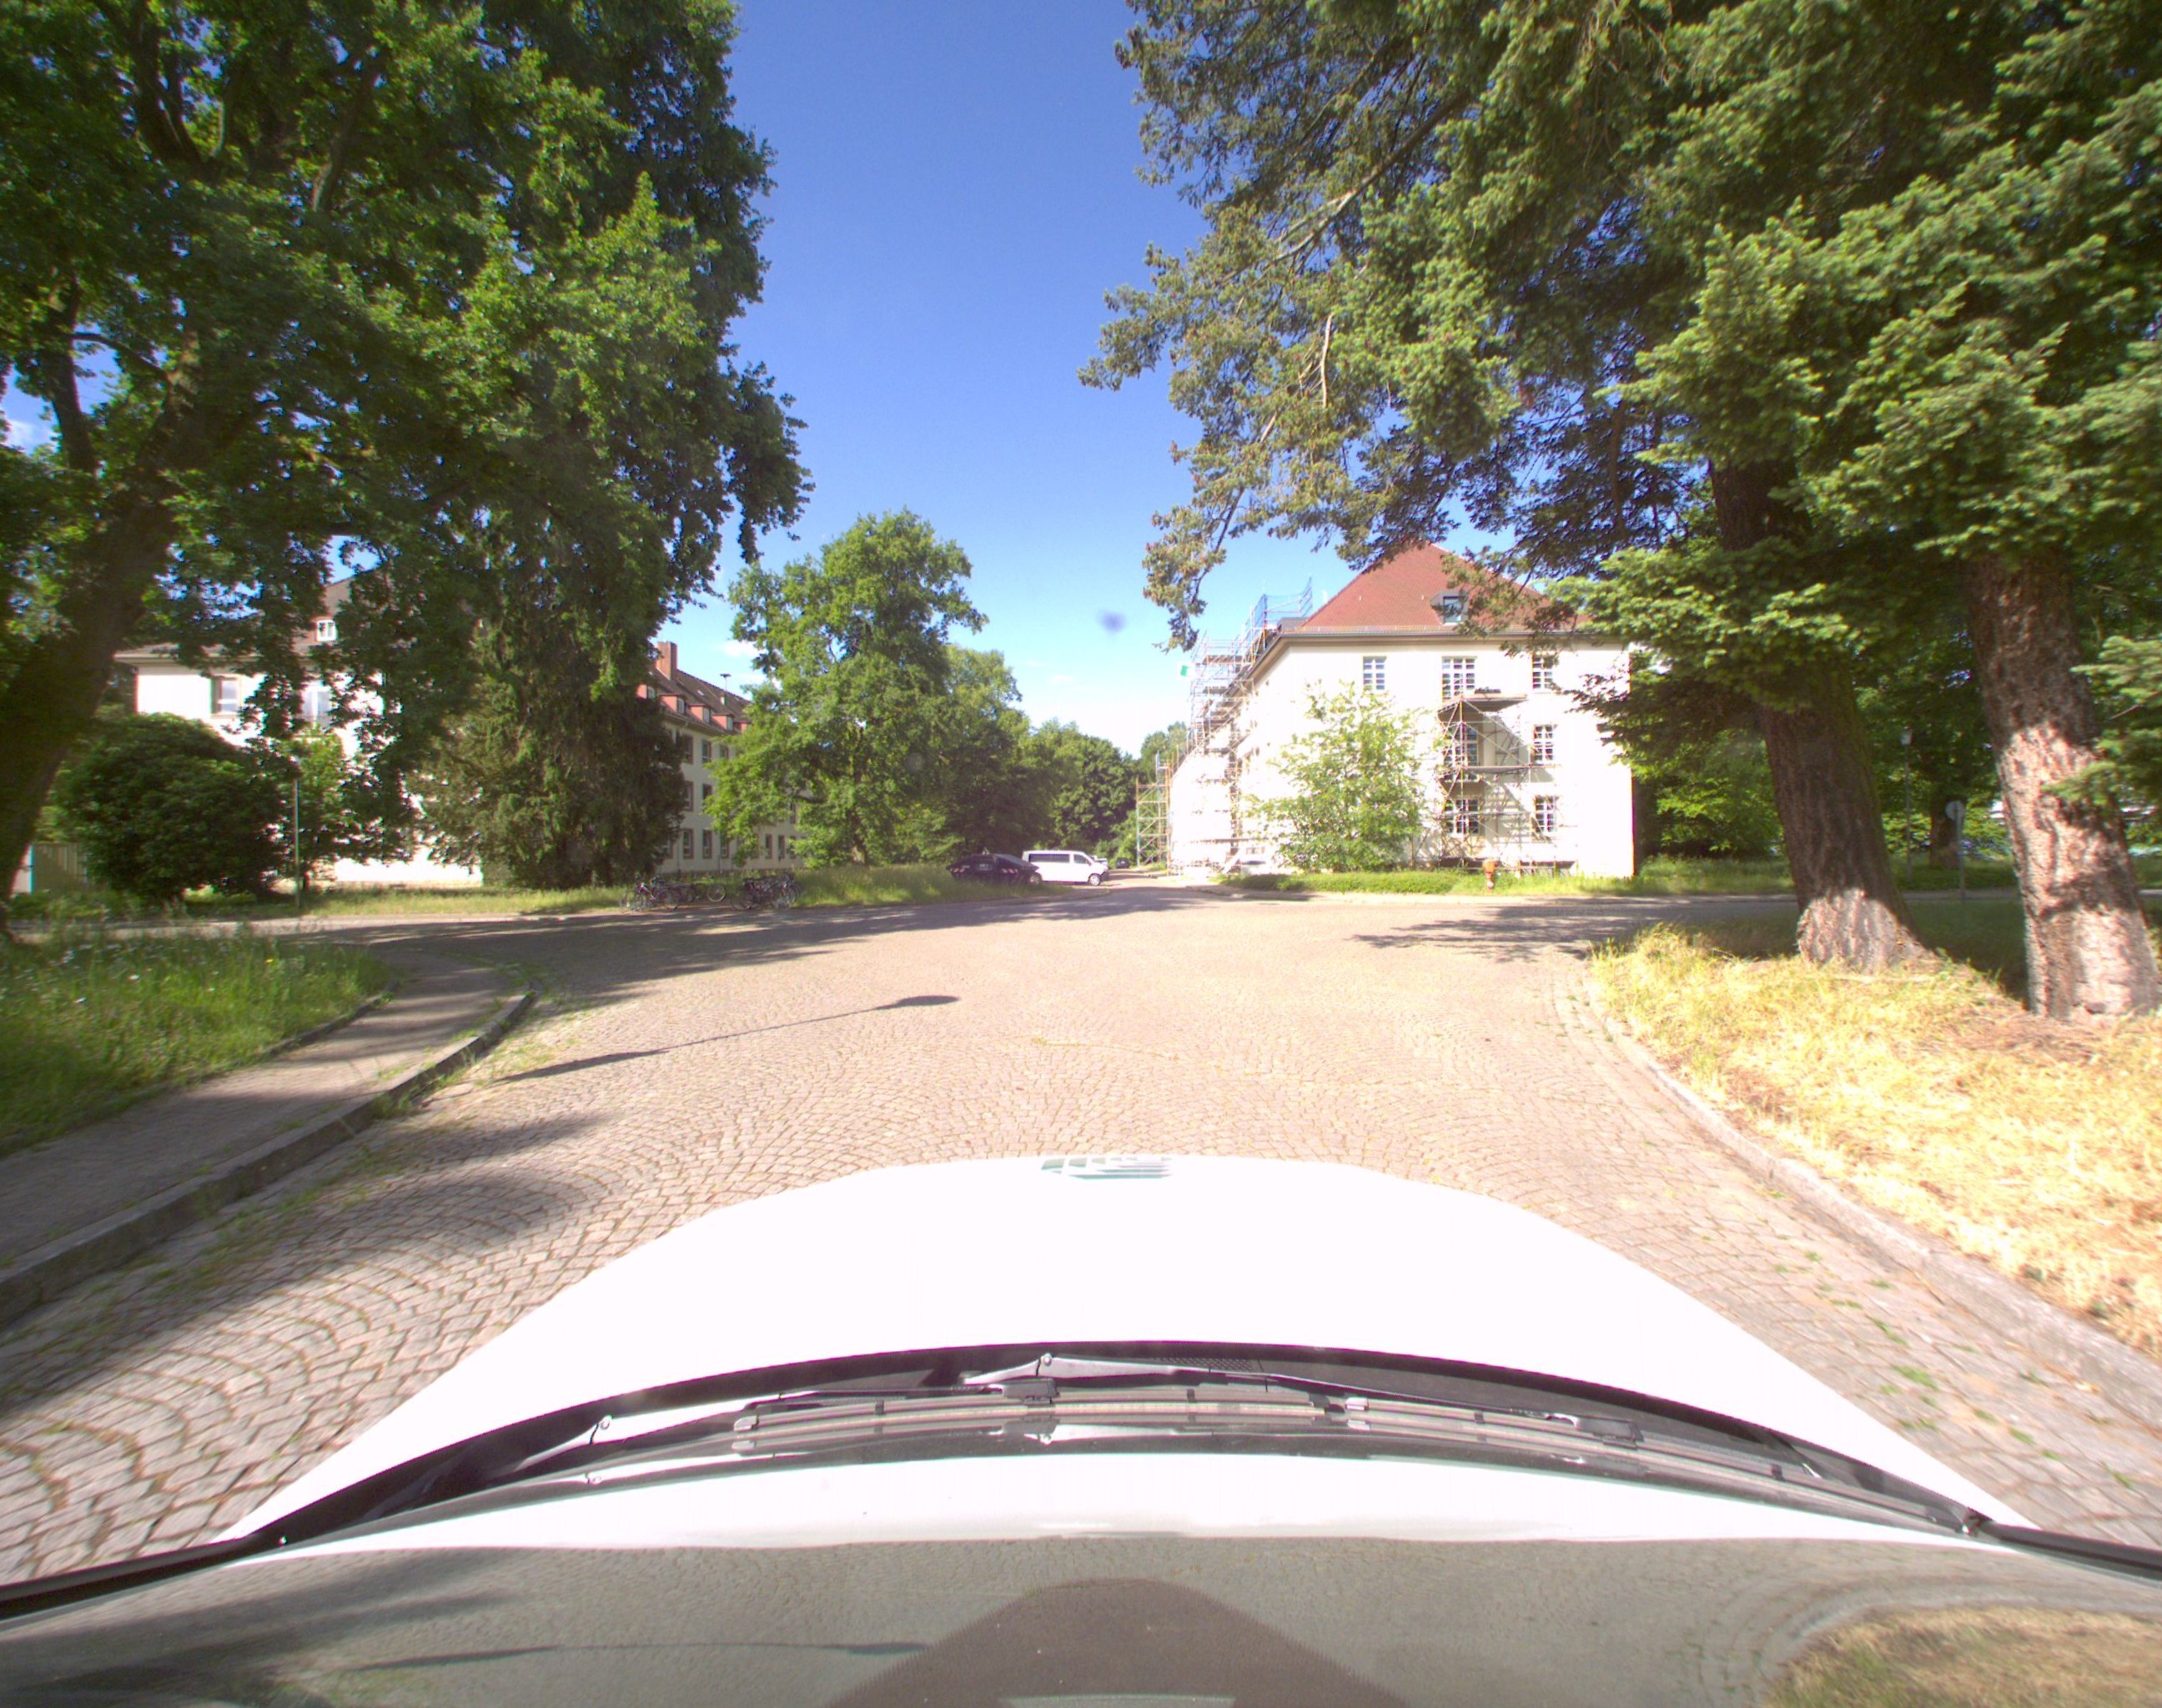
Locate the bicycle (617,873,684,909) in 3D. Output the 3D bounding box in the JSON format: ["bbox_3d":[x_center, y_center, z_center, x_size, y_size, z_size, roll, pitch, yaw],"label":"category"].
[{"bbox_3d":[-14.451,1.234,27.398,1.921,1.103,0.566,-1,1,-24],"label":"bicycle"}]

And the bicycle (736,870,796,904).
[{"bbox_3d":[-11.081,1.154,28.699,1.921,1.058,0.472,-3,0,-22],"label":"bicycle"}]

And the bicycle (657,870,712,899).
[{"bbox_3d":[-15.973,1.204,32.850,1.921,1.103,0.566,0,1,-23],"label":"bicycle"}]

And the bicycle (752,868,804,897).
[{"bbox_3d":[-12.259,1.126,32.982,1.919,1.058,0.473,-3,0,-20],"label":"bicycle"}]

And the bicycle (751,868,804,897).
[{"bbox_3d":[-12.107,1.122,32.543,1.919,1.058,0.473,-3,0,-20],"label":"bicycle"}]

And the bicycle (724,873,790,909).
[{"bbox_3d":[-10.564,1.191,26.584,1.924,1.058,0.471,-3,0,-28],"label":"bicycle"}]

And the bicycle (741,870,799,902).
[{"bbox_3d":[-11.248,1.150,29.490,1.921,1.058,0.472,-3,0,-22],"label":"bicycle"}]

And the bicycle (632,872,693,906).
[{"bbox_3d":[-14.888,1.226,28.995,1.923,1.103,0.565,-1,1,-27],"label":"bicycle"}]

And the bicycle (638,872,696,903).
[{"bbox_3d":[-15.389,1.233,30.300,1.923,1.103,0.565,-1,1,-27],"label":"bicycle"}]

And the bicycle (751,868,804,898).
[{"bbox_3d":[-11.933,1.137,32.075,1.919,1.058,0.473,-3,0,-20],"label":"bicycle"}]

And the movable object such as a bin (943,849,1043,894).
[{"bbox_3d":[-3.636,0.726,33.865,3.536,1.744,2.035,-1,-1,19],"label":"movable object such as a bin"}]

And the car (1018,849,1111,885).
[{"bbox_3d":[-0.909,0.732,46.939,5.217,2.016,1.950,-1,-1,0],"label":"car"}]

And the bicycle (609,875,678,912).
[{"bbox_3d":[-14.398,1.285,26.835,1.921,1.103,0.566,-1,1,-24],"label":"bicycle"}]

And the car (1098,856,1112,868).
[{"bbox_3d":[3.330,1.149,112.922,1.806,1.579,4.135,-1,0,1],"label":"car"}]

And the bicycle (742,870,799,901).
[{"bbox_3d":[-11.541,1.166,30.316,1.919,1.058,0.473,-3,0,-20],"label":"bicycle"}]

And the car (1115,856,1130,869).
[{"bbox_3d":[5.734,1.160,113.200,1.964,1.668,4.086,-1,0,1],"label":"car"}]

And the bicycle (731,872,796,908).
[{"bbox_3d":[-10.567,1.187,27.139,1.924,1.058,0.471,-3,0,-28],"label":"bicycle"}]

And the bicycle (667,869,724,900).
[{"bbox_3d":[-14.829,1.170,31.379,1.918,1.103,0.567,0,1,-18],"label":"bicycle"}]

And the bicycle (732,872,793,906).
[{"bbox_3d":[-10.982,1.200,28.135,1.921,1.058,0.472,-3,0,-22],"label":"bicycle"}]

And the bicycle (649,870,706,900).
[{"bbox_3d":[-15.784,1.194,31.904,1.918,1.103,0.567,0,1,-18],"label":"bicycle"}]
